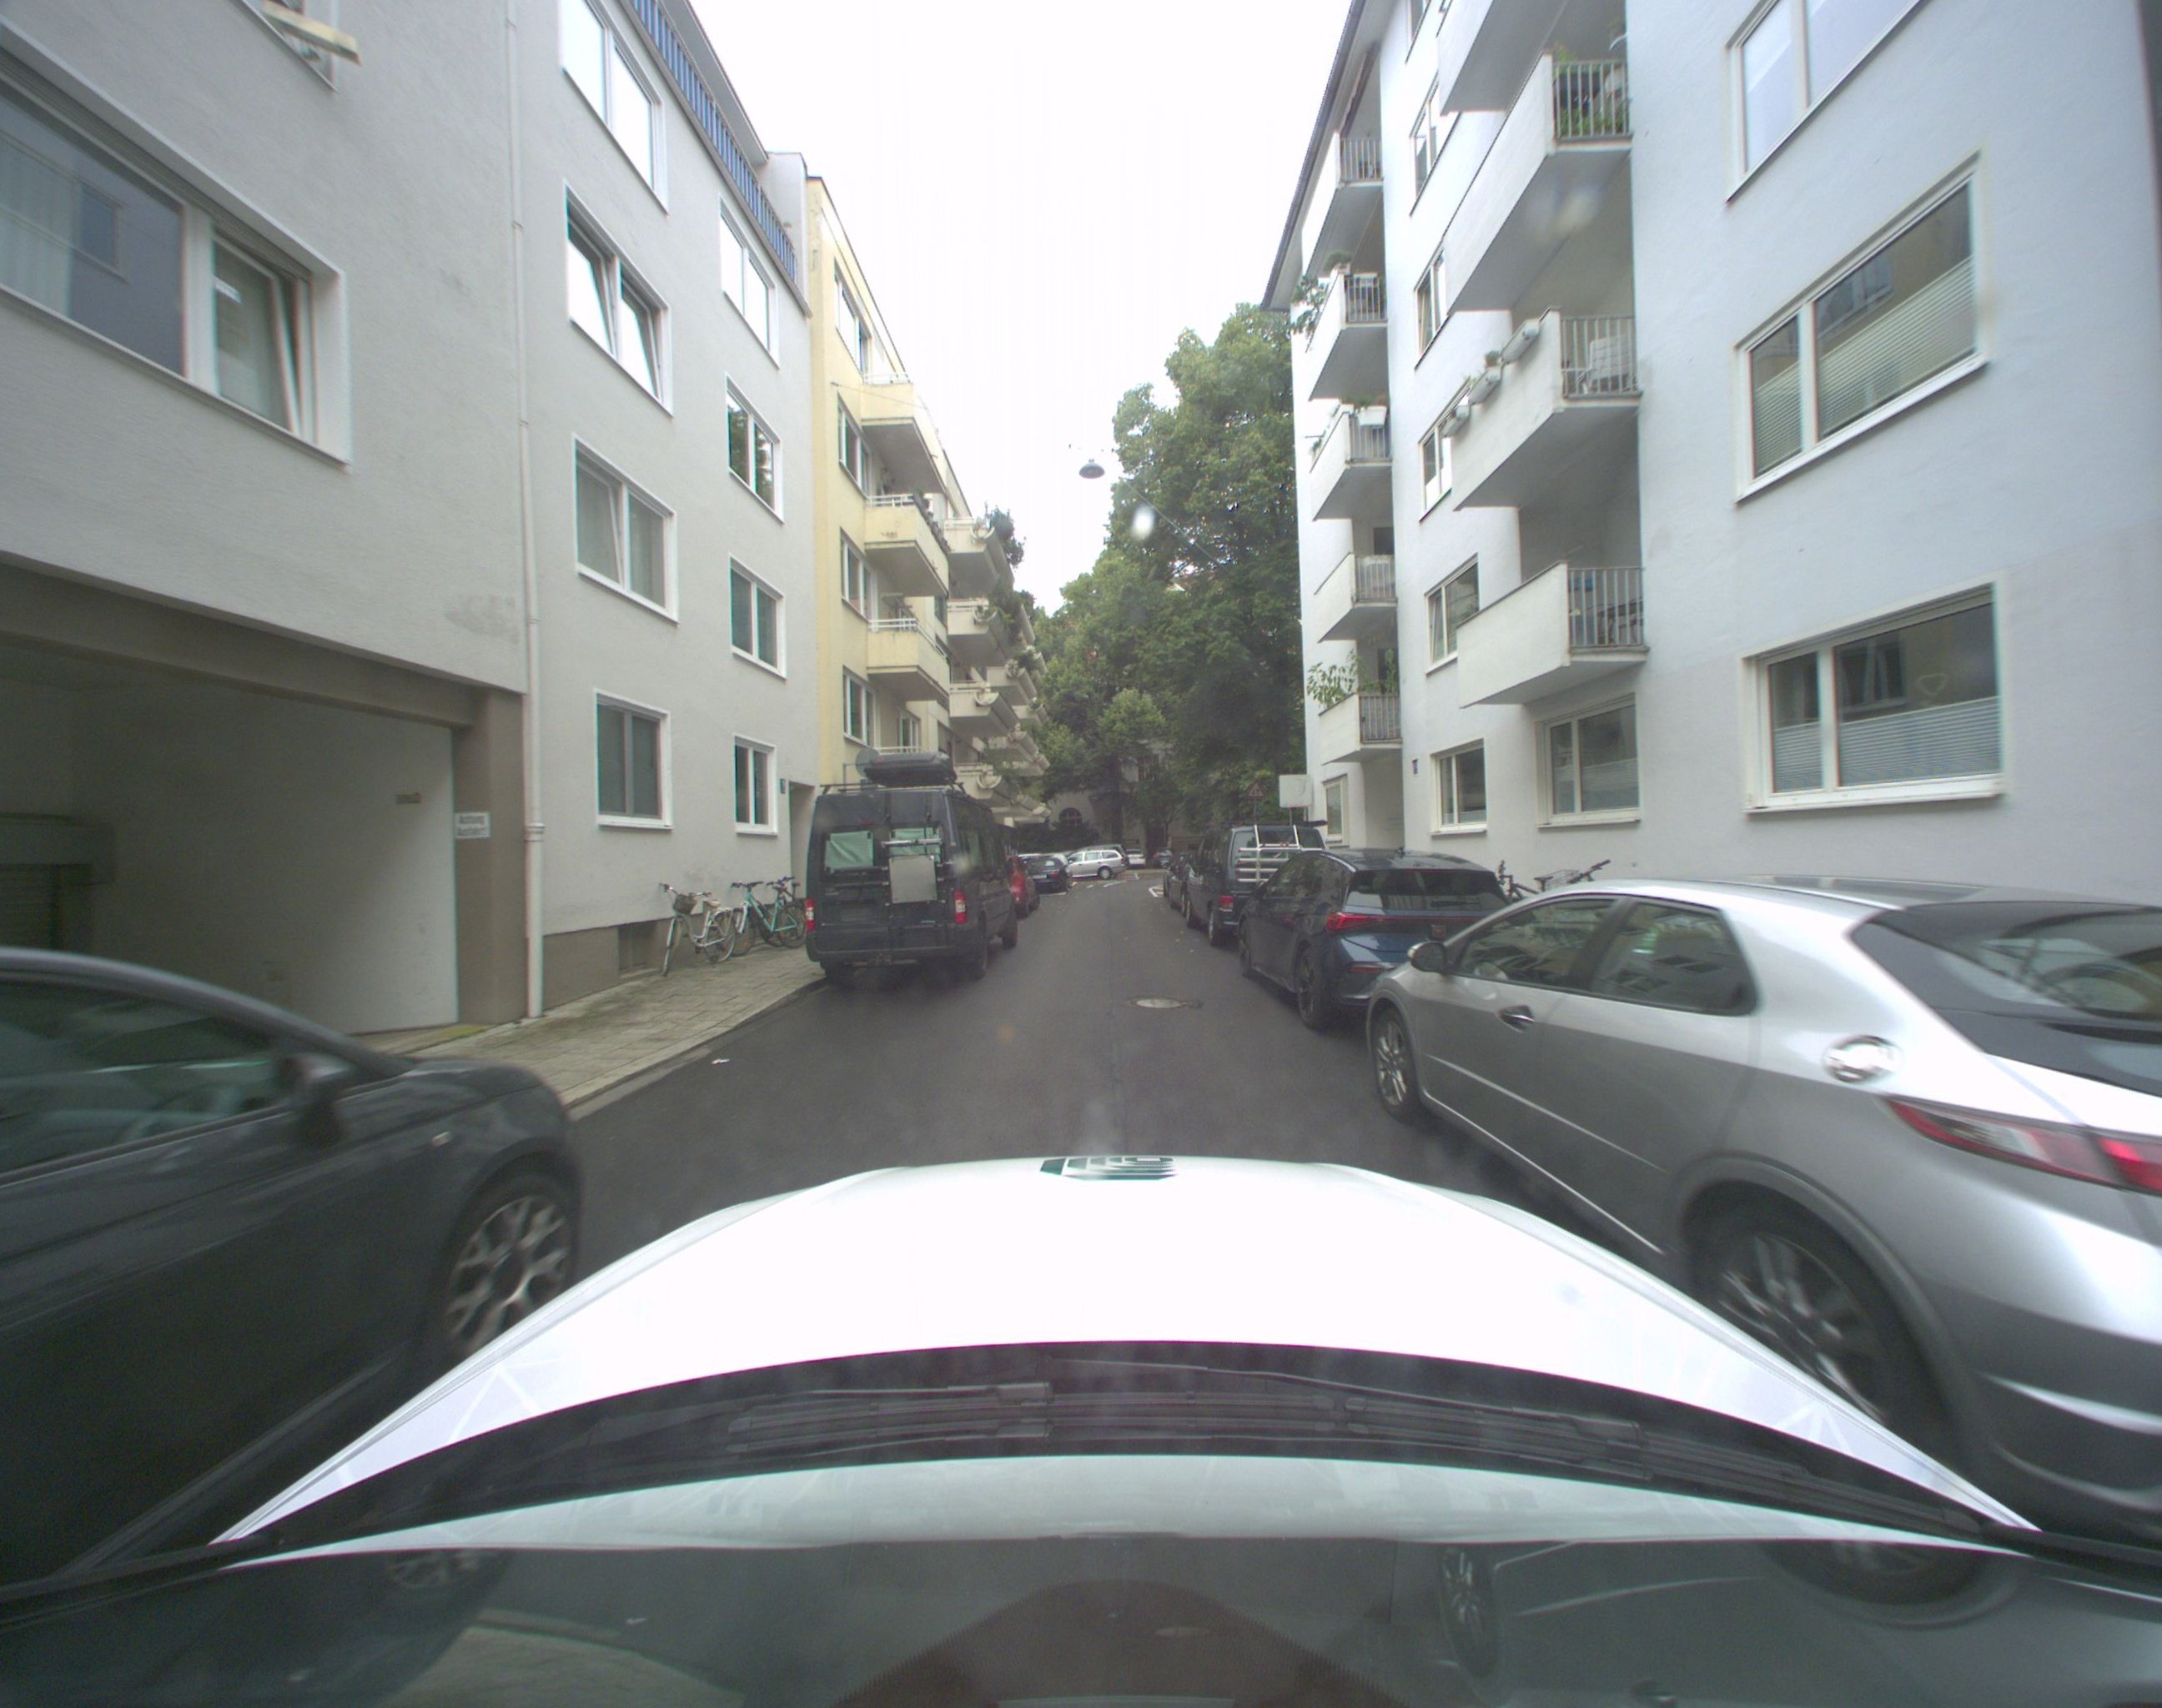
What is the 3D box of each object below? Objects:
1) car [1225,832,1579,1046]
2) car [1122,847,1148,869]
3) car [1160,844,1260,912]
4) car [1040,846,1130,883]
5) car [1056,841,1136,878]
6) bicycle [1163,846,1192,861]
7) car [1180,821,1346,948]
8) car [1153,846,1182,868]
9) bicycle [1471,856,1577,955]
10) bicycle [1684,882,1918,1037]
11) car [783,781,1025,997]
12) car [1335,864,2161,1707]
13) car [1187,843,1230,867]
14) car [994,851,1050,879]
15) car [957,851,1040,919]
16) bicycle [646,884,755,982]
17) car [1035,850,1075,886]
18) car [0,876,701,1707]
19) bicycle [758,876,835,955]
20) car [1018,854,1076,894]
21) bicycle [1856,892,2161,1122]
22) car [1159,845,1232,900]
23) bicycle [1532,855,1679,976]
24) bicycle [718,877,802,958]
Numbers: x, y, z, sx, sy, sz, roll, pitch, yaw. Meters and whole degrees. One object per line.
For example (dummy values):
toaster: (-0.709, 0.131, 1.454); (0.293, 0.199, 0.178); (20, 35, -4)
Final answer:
car: (2.842, 0.648, 8.489); (1.899, 1.554, 4.626); (-2, 0, 1)
car: (3.804, 0.267, 57.045); (1.711, 1.431, 4.005); (-1, 0, 4)
car: (3.061, 0.527, 20.100); (1.827, 1.419, 4.058); (-2, 0, 1)
car: (0.219, 0.481, 39.867); (4.213, 1.455, 1.721); (-4, 0, 1)
car: (0.805, 0.284, 45.110); (4.207, 1.684, 1.902); (-4, 0, -1)
bicycle: (7.650, -0.018, 64.794); (2.207, 1.115, 0.580); (-1, 0, 30)
car: (2.940, 0.449, 14.256); (1.868, 1.791, 4.783); (-2, 0, 1)
car: (5.967, 0.163, 55.855); (1.781, 1.431, 4.010); (-1, 0, 9)
bicycle: (5.610, 0.609, 10.398); (0.568, 1.151, 1.431); (-1, 0, 1)
bicycle: (5.556, 0.755, 6.410); (0.475, 1.002, 1.552); (-1, 0, 1)
car: (-2.162, 0.397, 11.773); (2.010, 2.279, 5.393); (-4, 0, 2)
car: (2.614, 0.790, 3.405); (1.754, 1.431, 4.260); (1, 0, 0)
car: (8.690, 0.051, 55.290); (1.822, 1.530, 4.048); (-1, 0, 24)
car: (-3.760, 0.669, 51.707); (3.297, 1.631, 1.501); (-1, 0, -18)
car: (-1.977, 0.708, 20.471); (1.614, 1.496, 3.709); (-2, 0, 1)
bicycle: (-4.999, 0.996, 10.822); (0.461, 1.097, 1.871); (-1, 0, 3)
car: (-1.111, 0.587, 36.226); (1.555, 1.421, 3.834); (-4, 0, 1)
car: (-2.546, 0.874, 1.569); (1.605, 1.446, 3.746); (-4, 0, 3)
bicycle: (-4.481, 0.938, 12.954); (0.461, 1.097, 1.871); (-1, 0, 3)
car: (-1.205, 0.697, 30.766); (1.790, 1.278, 4.618); (-4, 0, 1)
bicycle: (5.535, 0.796, 4.809); (0.475, 1.048, 1.522); (-1, 0, 1)
car: (3.335, 0.506, 24.370); (1.736, 1.441, 4.003); (-2, 0, 3)
bicycle: (5.566, 0.602, 8.748); (0.568, 1.151, 1.563); (-1, 0, 1)
bicycle: (-4.955, 0.946, 12.688); (0.461, 1.097, 1.871); (-1, 0, 3)
